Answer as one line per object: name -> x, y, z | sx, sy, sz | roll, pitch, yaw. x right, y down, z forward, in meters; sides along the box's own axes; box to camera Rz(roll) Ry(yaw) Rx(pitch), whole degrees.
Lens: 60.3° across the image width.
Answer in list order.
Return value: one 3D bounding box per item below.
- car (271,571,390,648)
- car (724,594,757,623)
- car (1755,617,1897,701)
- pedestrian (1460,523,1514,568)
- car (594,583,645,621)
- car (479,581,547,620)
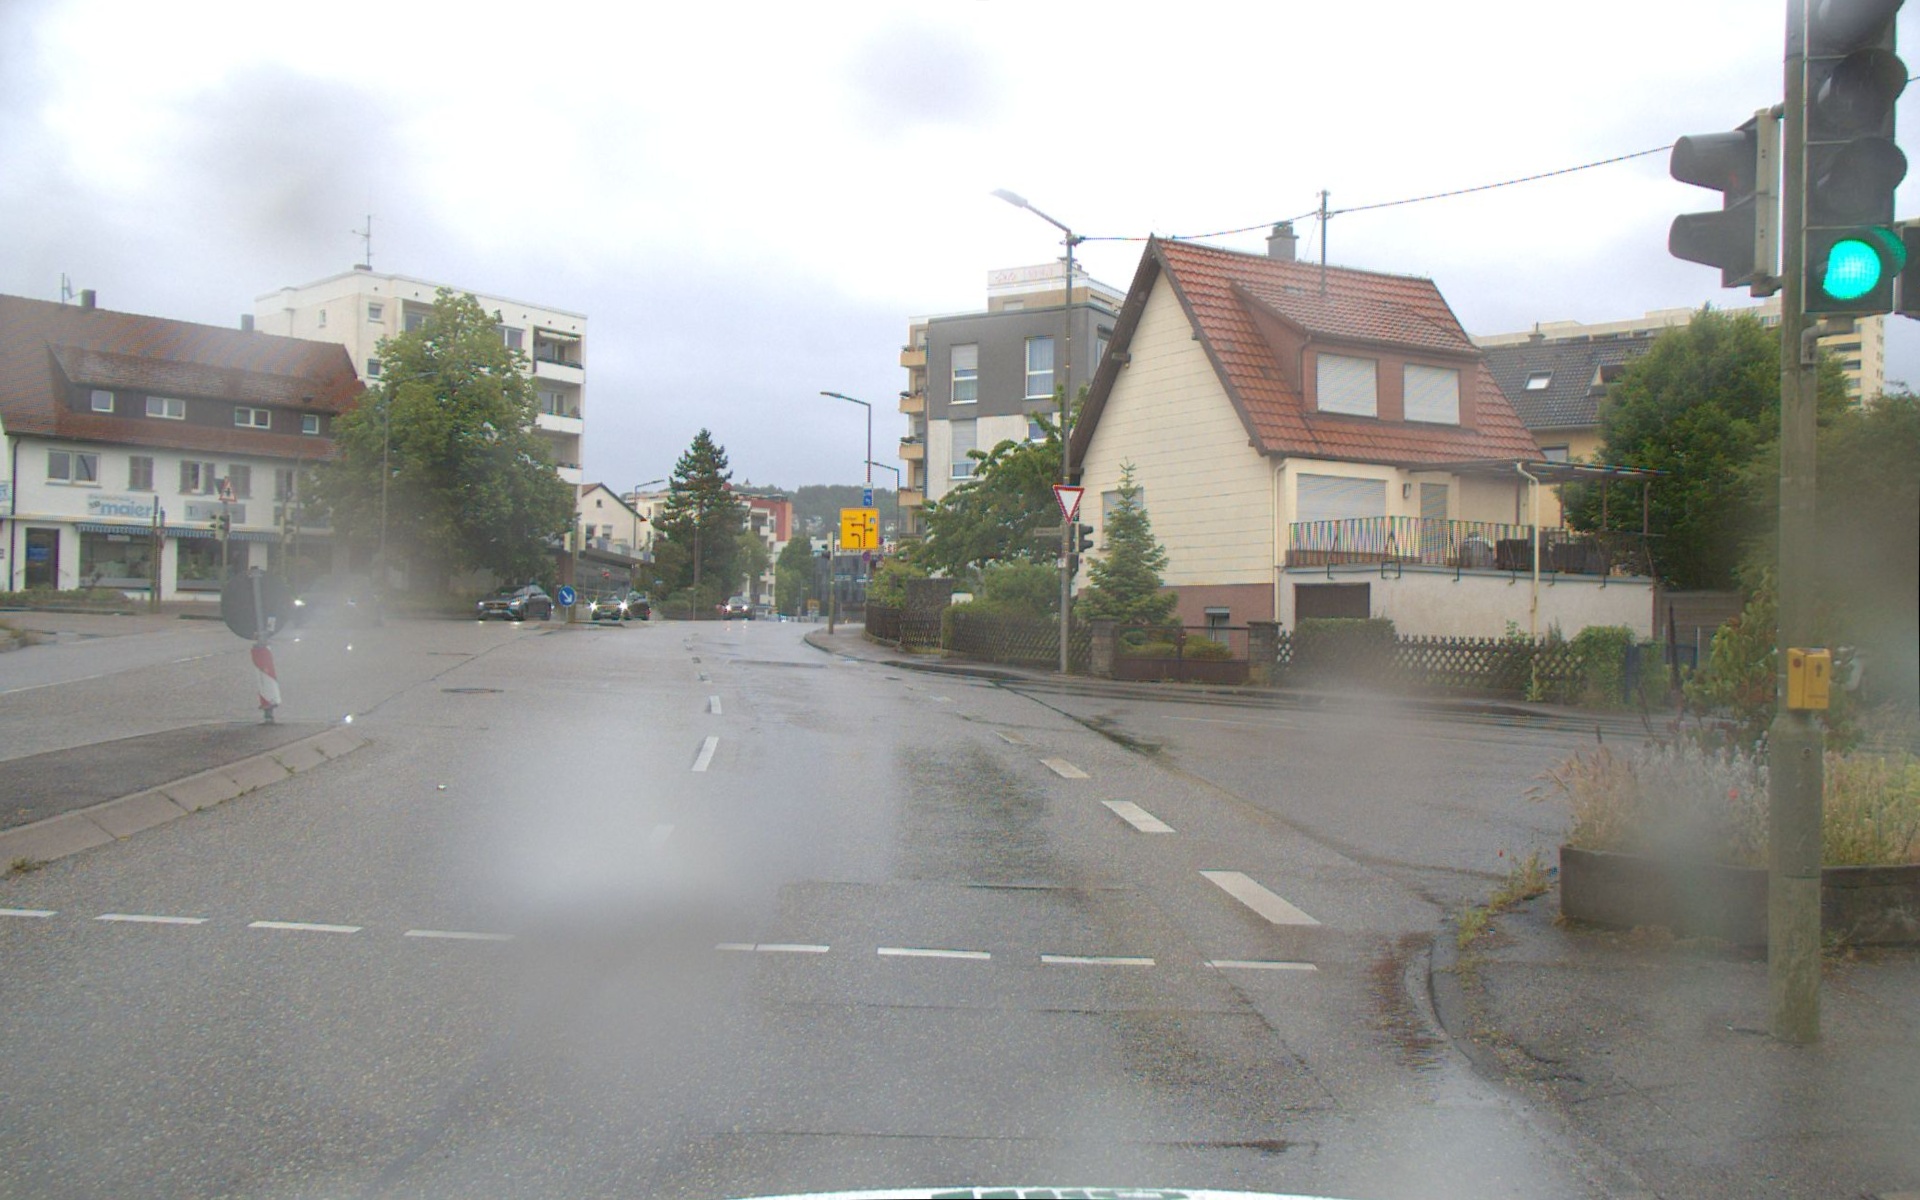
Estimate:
car -> -16.936, 0.258, 44.695 | 1.955, 1.937, 3.995 | 1, -1, -5
car -> -14.594, 0.595, 110.189 | 1.955, 1.843, 3.995 | 1, -1, -5
car -> 15.642, 1.024, 29.781 | 1.780, 1.386, 3.986 | 1, -1, 35
pedestrian -> 11.173, -1.148, 35.094 | 0.902, 0.898, 0.632 | 1, -3, -20
car -> -16.339, 0.111, 79.567 | 1.955, 1.708, 3.995 | 1, -1, -5
car -> -17.756, 0.042, 65.862 | 1.955, 1.489, 3.995 | 1, -1, -5
